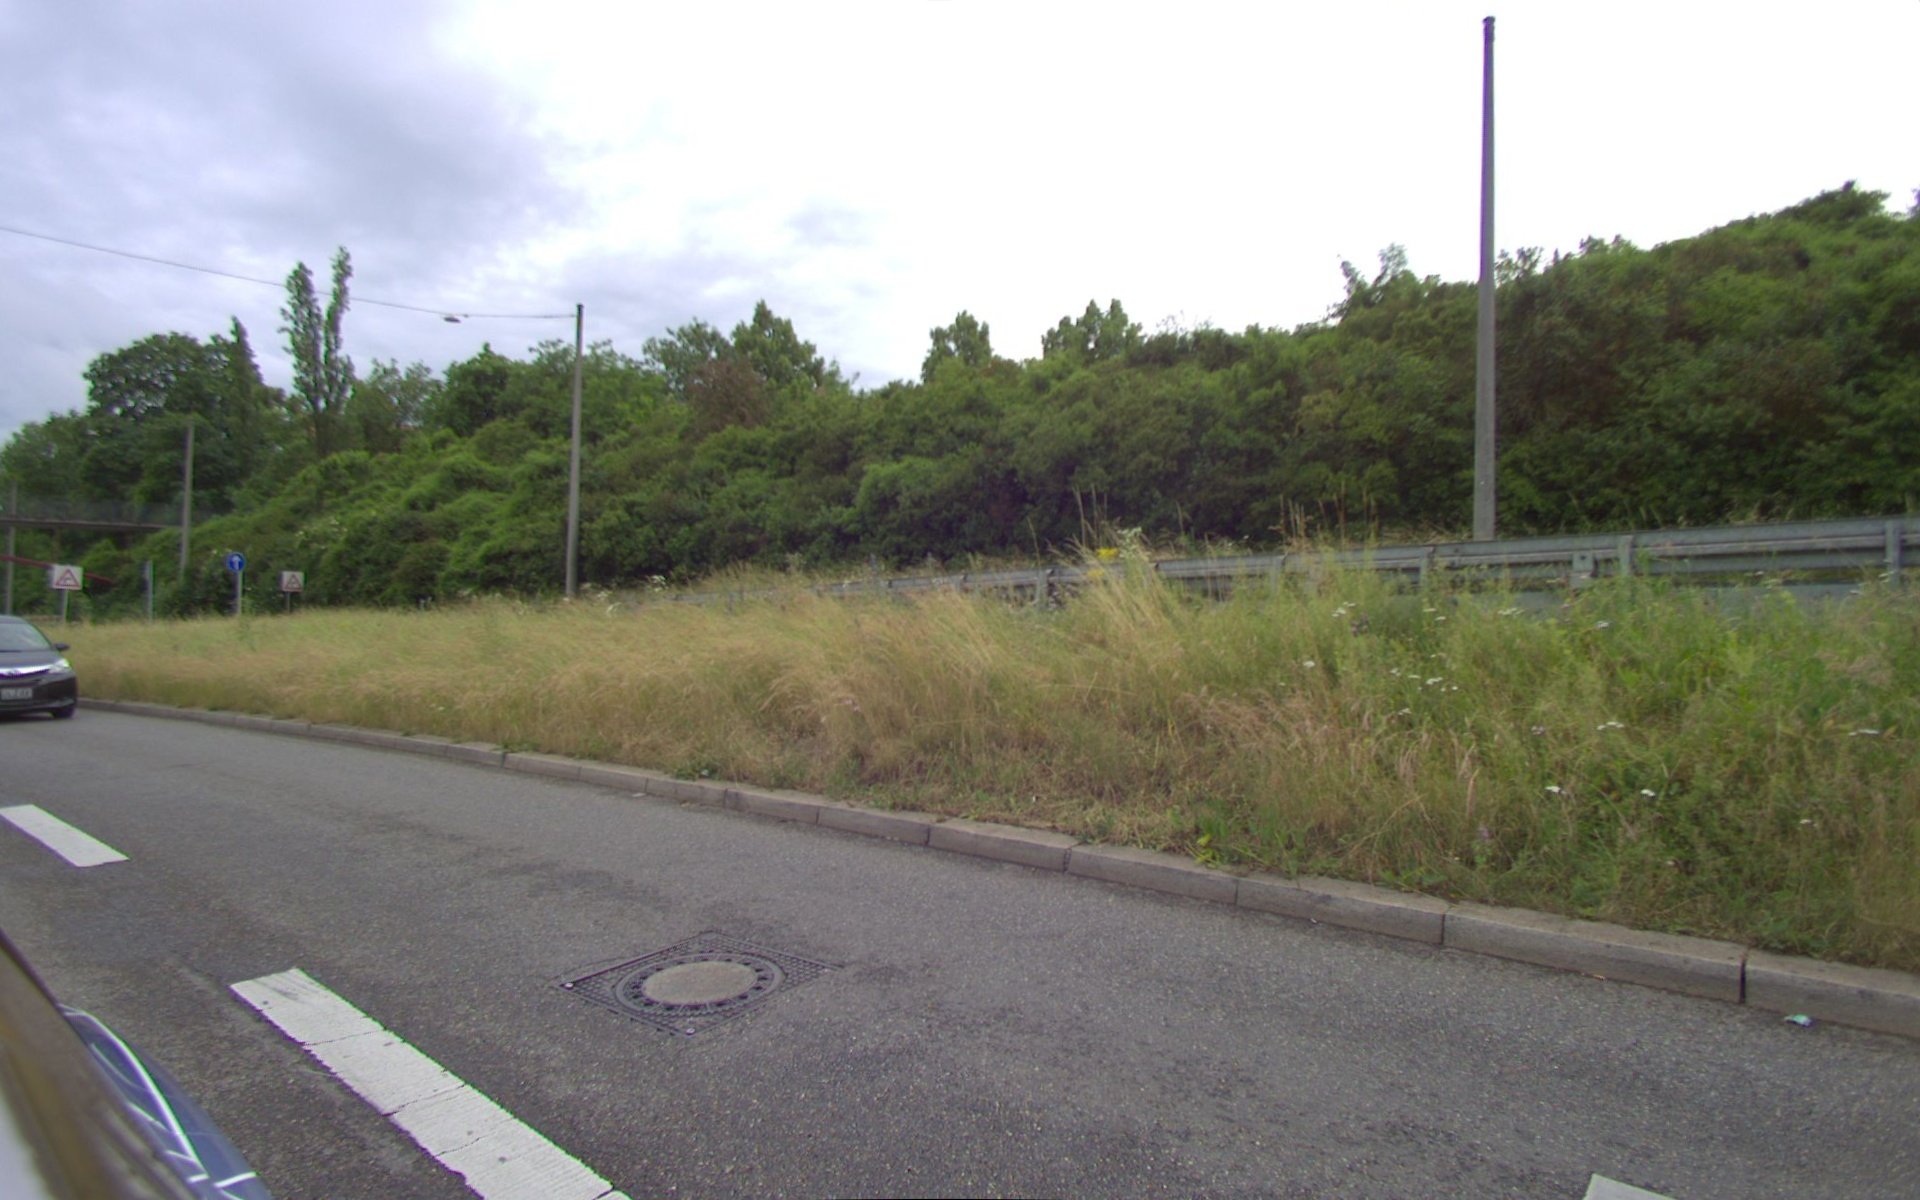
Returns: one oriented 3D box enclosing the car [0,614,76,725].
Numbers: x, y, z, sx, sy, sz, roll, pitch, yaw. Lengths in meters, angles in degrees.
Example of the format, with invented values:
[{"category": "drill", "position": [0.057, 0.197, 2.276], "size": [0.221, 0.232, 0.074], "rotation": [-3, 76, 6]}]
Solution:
[{"category": "car", "position": [-14.812, 1.012, 15.065], "size": [3.769, 1.516, 1.628], "rotation": [-2, -1, 35]}]
